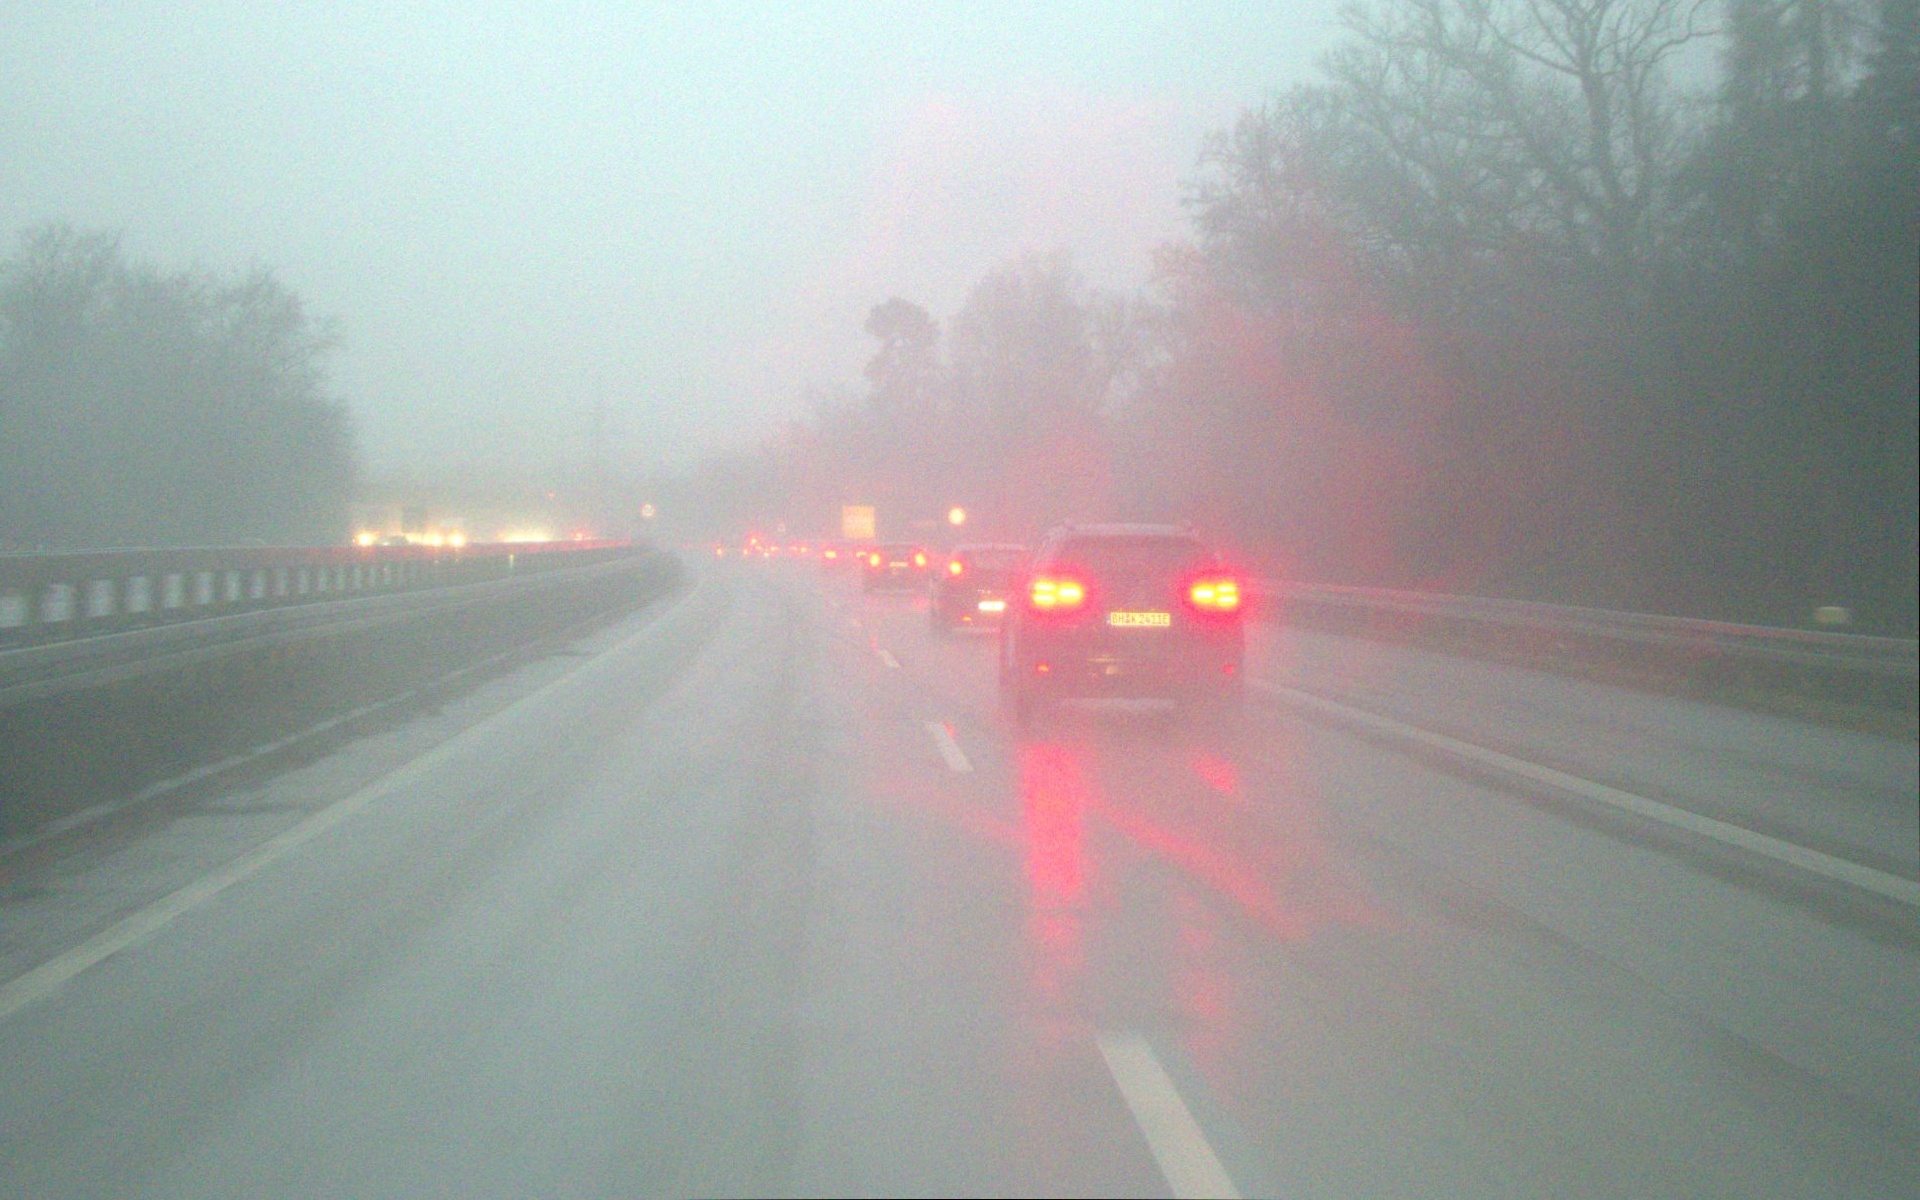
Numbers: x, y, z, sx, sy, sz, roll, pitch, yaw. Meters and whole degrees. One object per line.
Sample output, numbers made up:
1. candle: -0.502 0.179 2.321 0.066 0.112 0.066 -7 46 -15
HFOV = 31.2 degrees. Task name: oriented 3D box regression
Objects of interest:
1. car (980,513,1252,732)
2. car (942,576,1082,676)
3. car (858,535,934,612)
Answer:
1. car: 1.246 0.152 29.105 1.992 1.709 3.830 1 1 -2
2. car: 0.770 0.381 53.821 1.993 1.415 4.000 3 0 -1
3. car: -1.752 -0.730 93.508 1.993 2.007 4.000 1 1 -2
